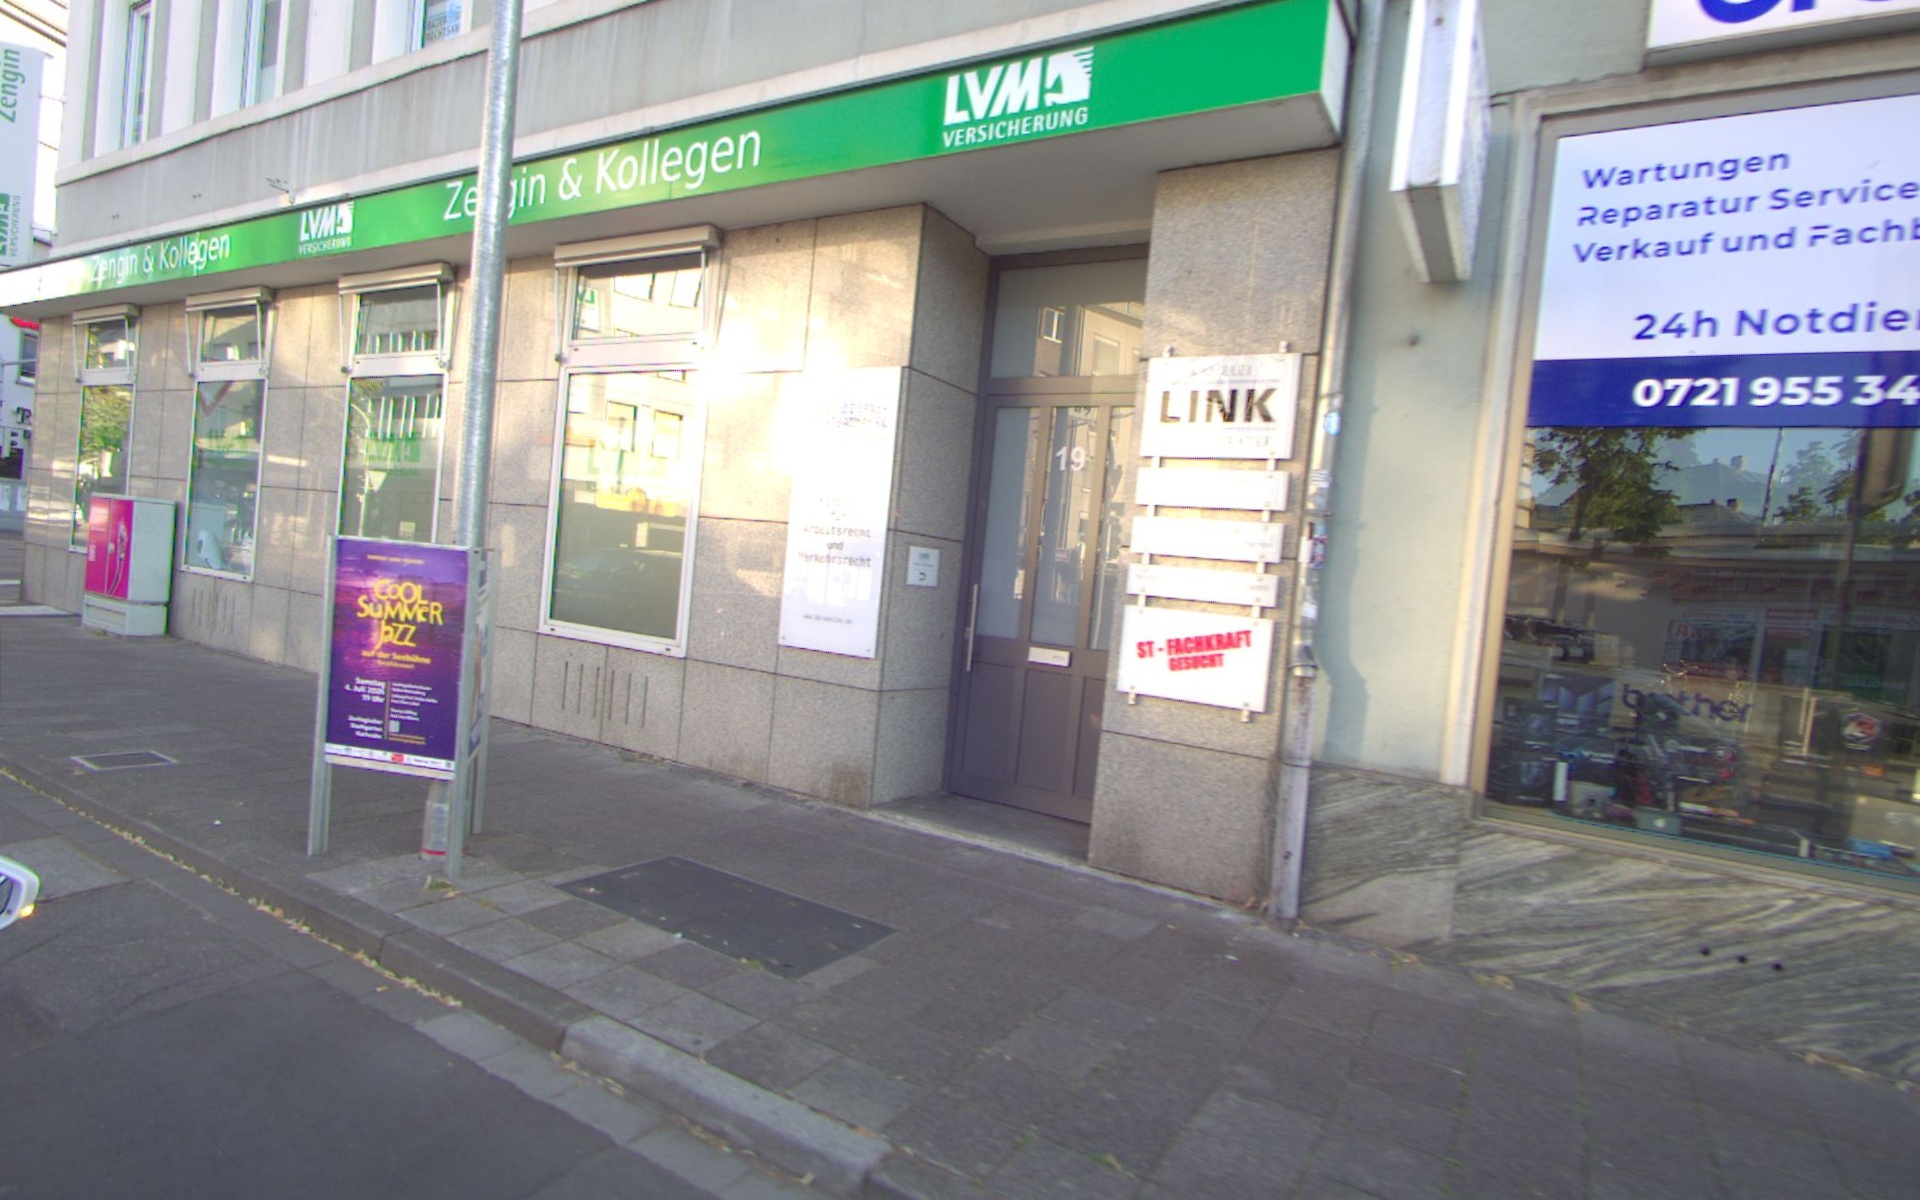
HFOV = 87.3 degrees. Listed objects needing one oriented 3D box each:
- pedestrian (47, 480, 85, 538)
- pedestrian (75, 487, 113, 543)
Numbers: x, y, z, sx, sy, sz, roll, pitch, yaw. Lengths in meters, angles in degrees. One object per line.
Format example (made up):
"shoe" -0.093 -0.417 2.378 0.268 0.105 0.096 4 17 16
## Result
"pedestrian" -29.807 -3.020 33.532 0.627 1.802 0.599 6 2 -10
"pedestrian" -29.028 -2.835 33.718 0.628 1.767 0.667 6 2 -12
